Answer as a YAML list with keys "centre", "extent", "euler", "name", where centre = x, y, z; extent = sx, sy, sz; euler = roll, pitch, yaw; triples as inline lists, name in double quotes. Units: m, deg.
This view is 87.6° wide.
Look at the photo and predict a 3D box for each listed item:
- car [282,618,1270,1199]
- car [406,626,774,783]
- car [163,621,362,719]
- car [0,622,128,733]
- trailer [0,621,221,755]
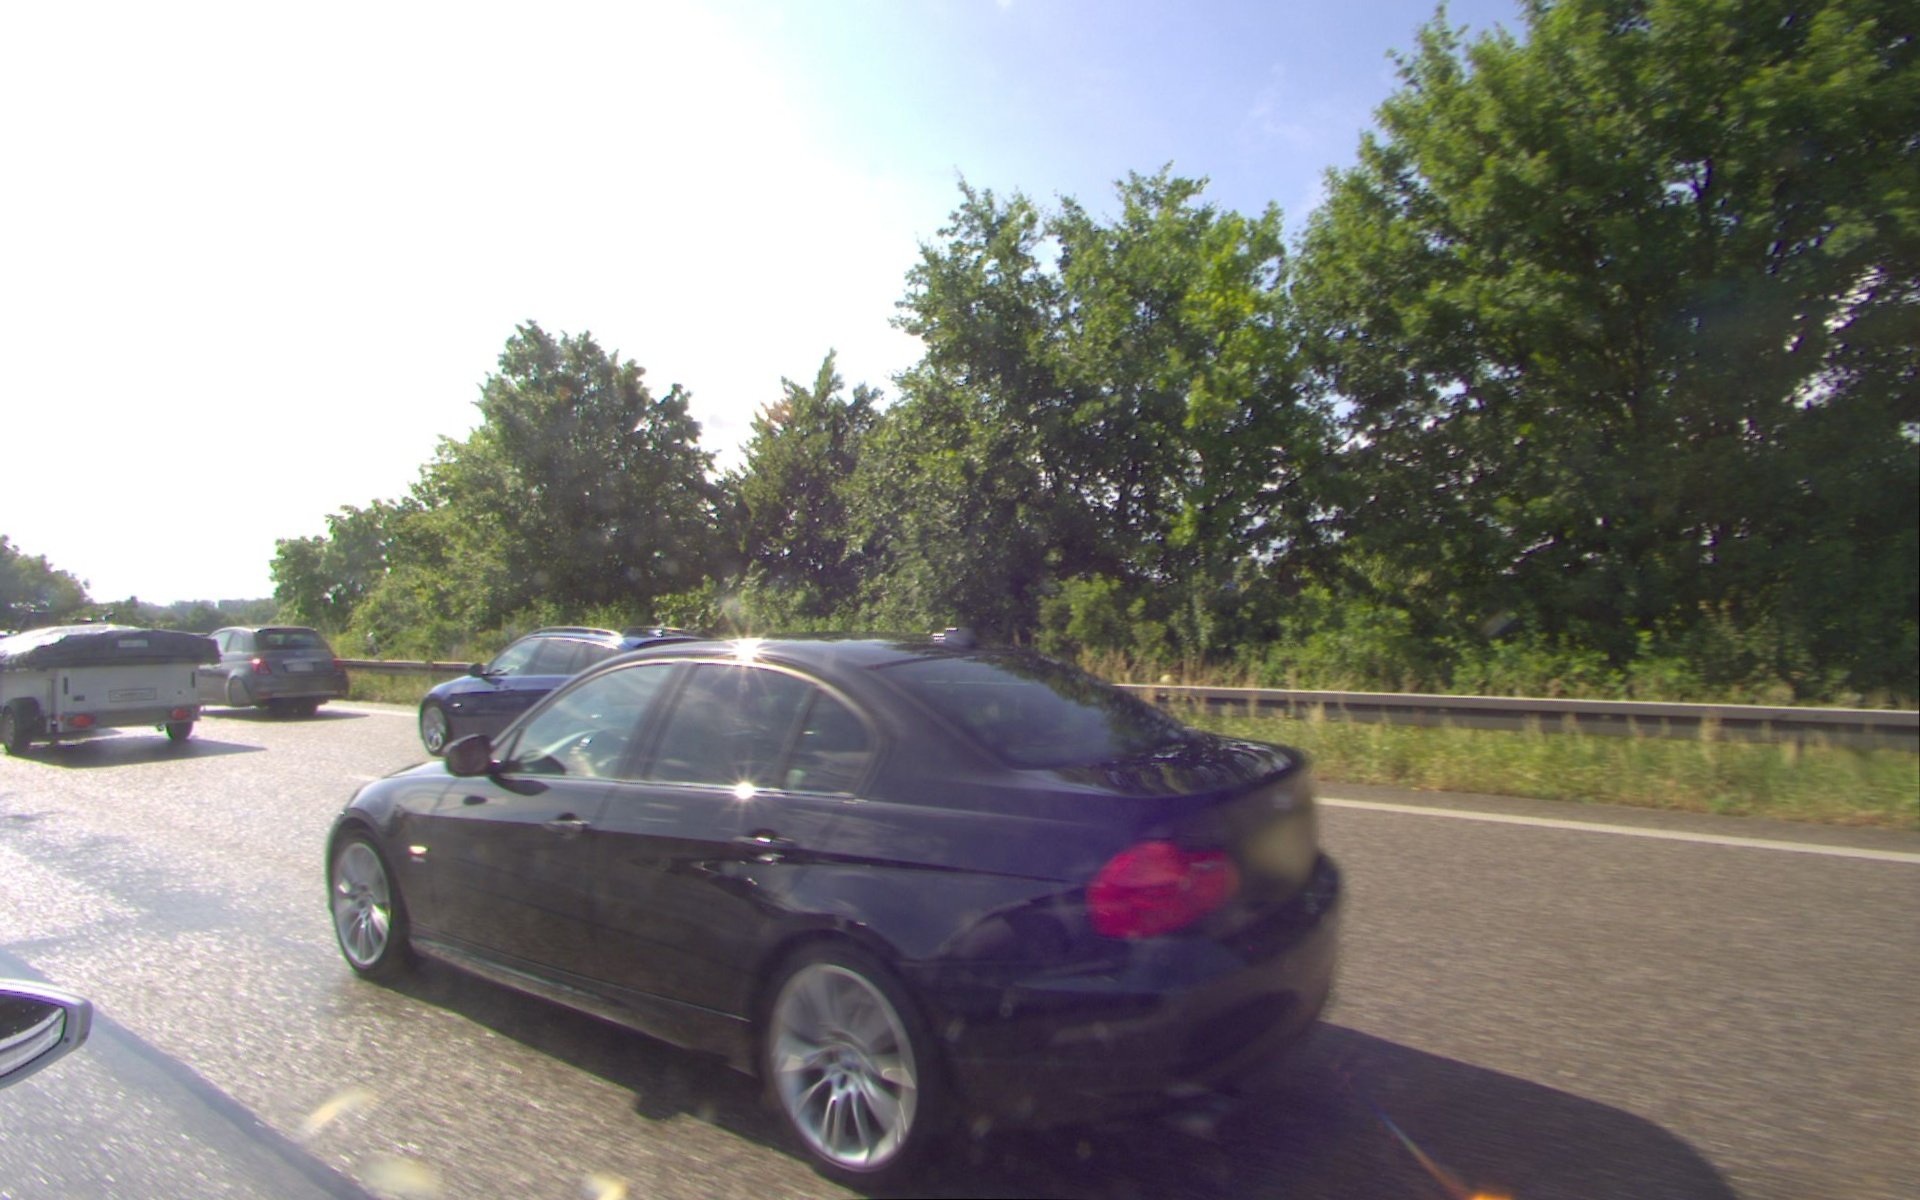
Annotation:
- centre: [-0.910, 0.801, 3.998]
  extent: [3.783, 1.439, 1.736]
  euler: [-1, -1, 35]
  name: "car"
- centre: [-4.180, 0.997, 11.064]
  extent: [4.232, 1.420, 1.766]
  euler: [-1, -1, 36]
  name: "car"
- centre: [-12.077, 1.127, 17.287]
  extent: [3.621, 1.502, 1.667]
  euler: [-1, -1, 34]
  name: "car"
- centre: [-14.165, 1.056, 14.777]
  extent: [4.200, 1.460, 1.850]
  euler: [-1, -1, 35]
  name: "car"
- centre: [-11.398, 1.004, 12.862]
  extent: [4.091, 1.460, 1.850]
  euler: [-1, -1, 35]
  name: "trailer"
